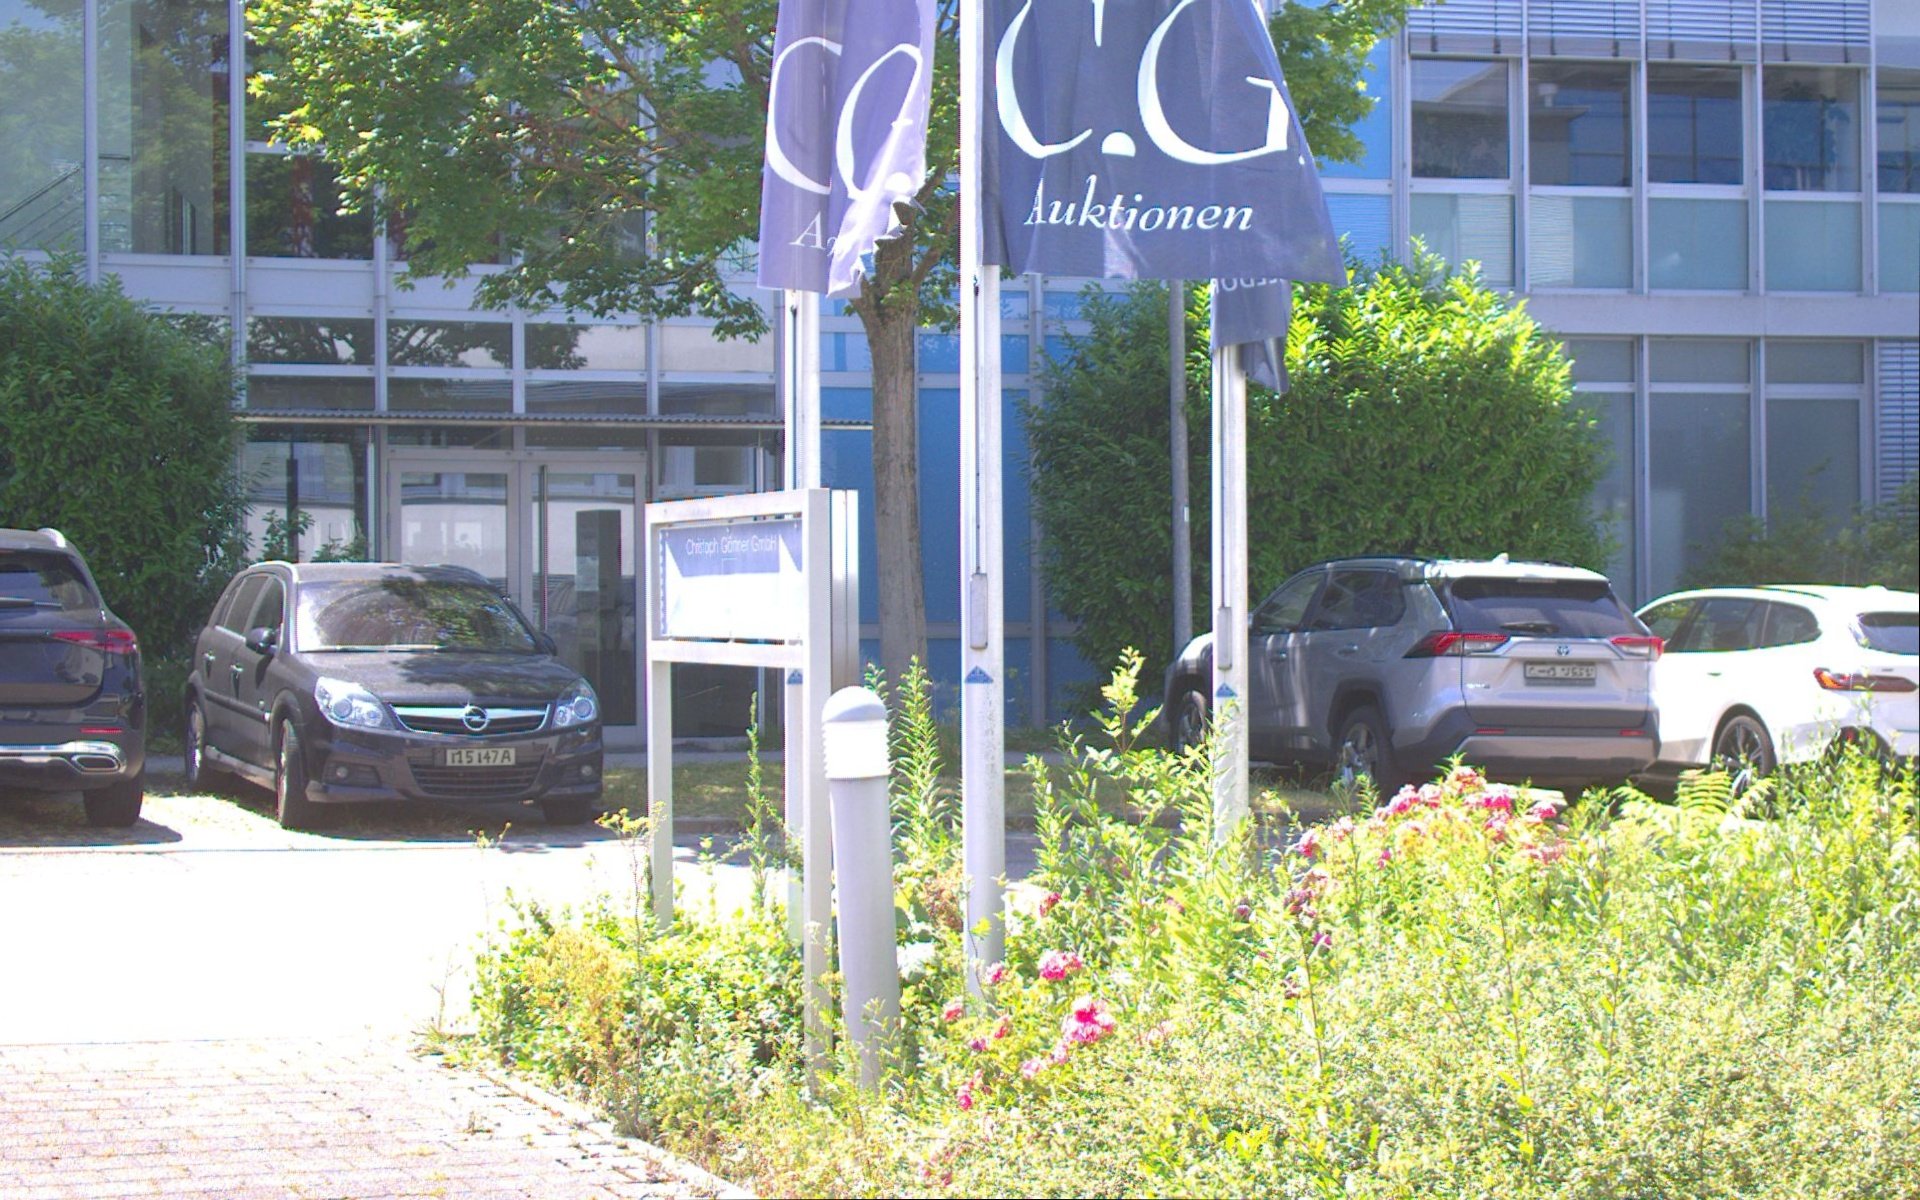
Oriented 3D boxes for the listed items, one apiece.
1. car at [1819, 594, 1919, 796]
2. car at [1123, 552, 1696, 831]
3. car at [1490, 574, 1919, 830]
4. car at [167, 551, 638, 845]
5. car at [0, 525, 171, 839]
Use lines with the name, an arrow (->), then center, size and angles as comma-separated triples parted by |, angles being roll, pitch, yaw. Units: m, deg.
car -> 7.933, 0.742, 24.362 | 1.735, 1.425, 4.341 | 2, 1, -13
car -> 2.859, 0.522, 22.929 | 1.819, 1.614, 4.341 | 0, 1, -23
car -> 5.522, 0.630, 23.348 | 1.735, 1.486, 4.341 | 2, 1, -23
car -> -3.400, 0.487, 20.273 | 1.769, 1.477, 4.260 | 0, 1, -23
car -> -5.814, 0.373, 19.464 | 1.926, 1.605, 3.987 | 1, 1, -23
